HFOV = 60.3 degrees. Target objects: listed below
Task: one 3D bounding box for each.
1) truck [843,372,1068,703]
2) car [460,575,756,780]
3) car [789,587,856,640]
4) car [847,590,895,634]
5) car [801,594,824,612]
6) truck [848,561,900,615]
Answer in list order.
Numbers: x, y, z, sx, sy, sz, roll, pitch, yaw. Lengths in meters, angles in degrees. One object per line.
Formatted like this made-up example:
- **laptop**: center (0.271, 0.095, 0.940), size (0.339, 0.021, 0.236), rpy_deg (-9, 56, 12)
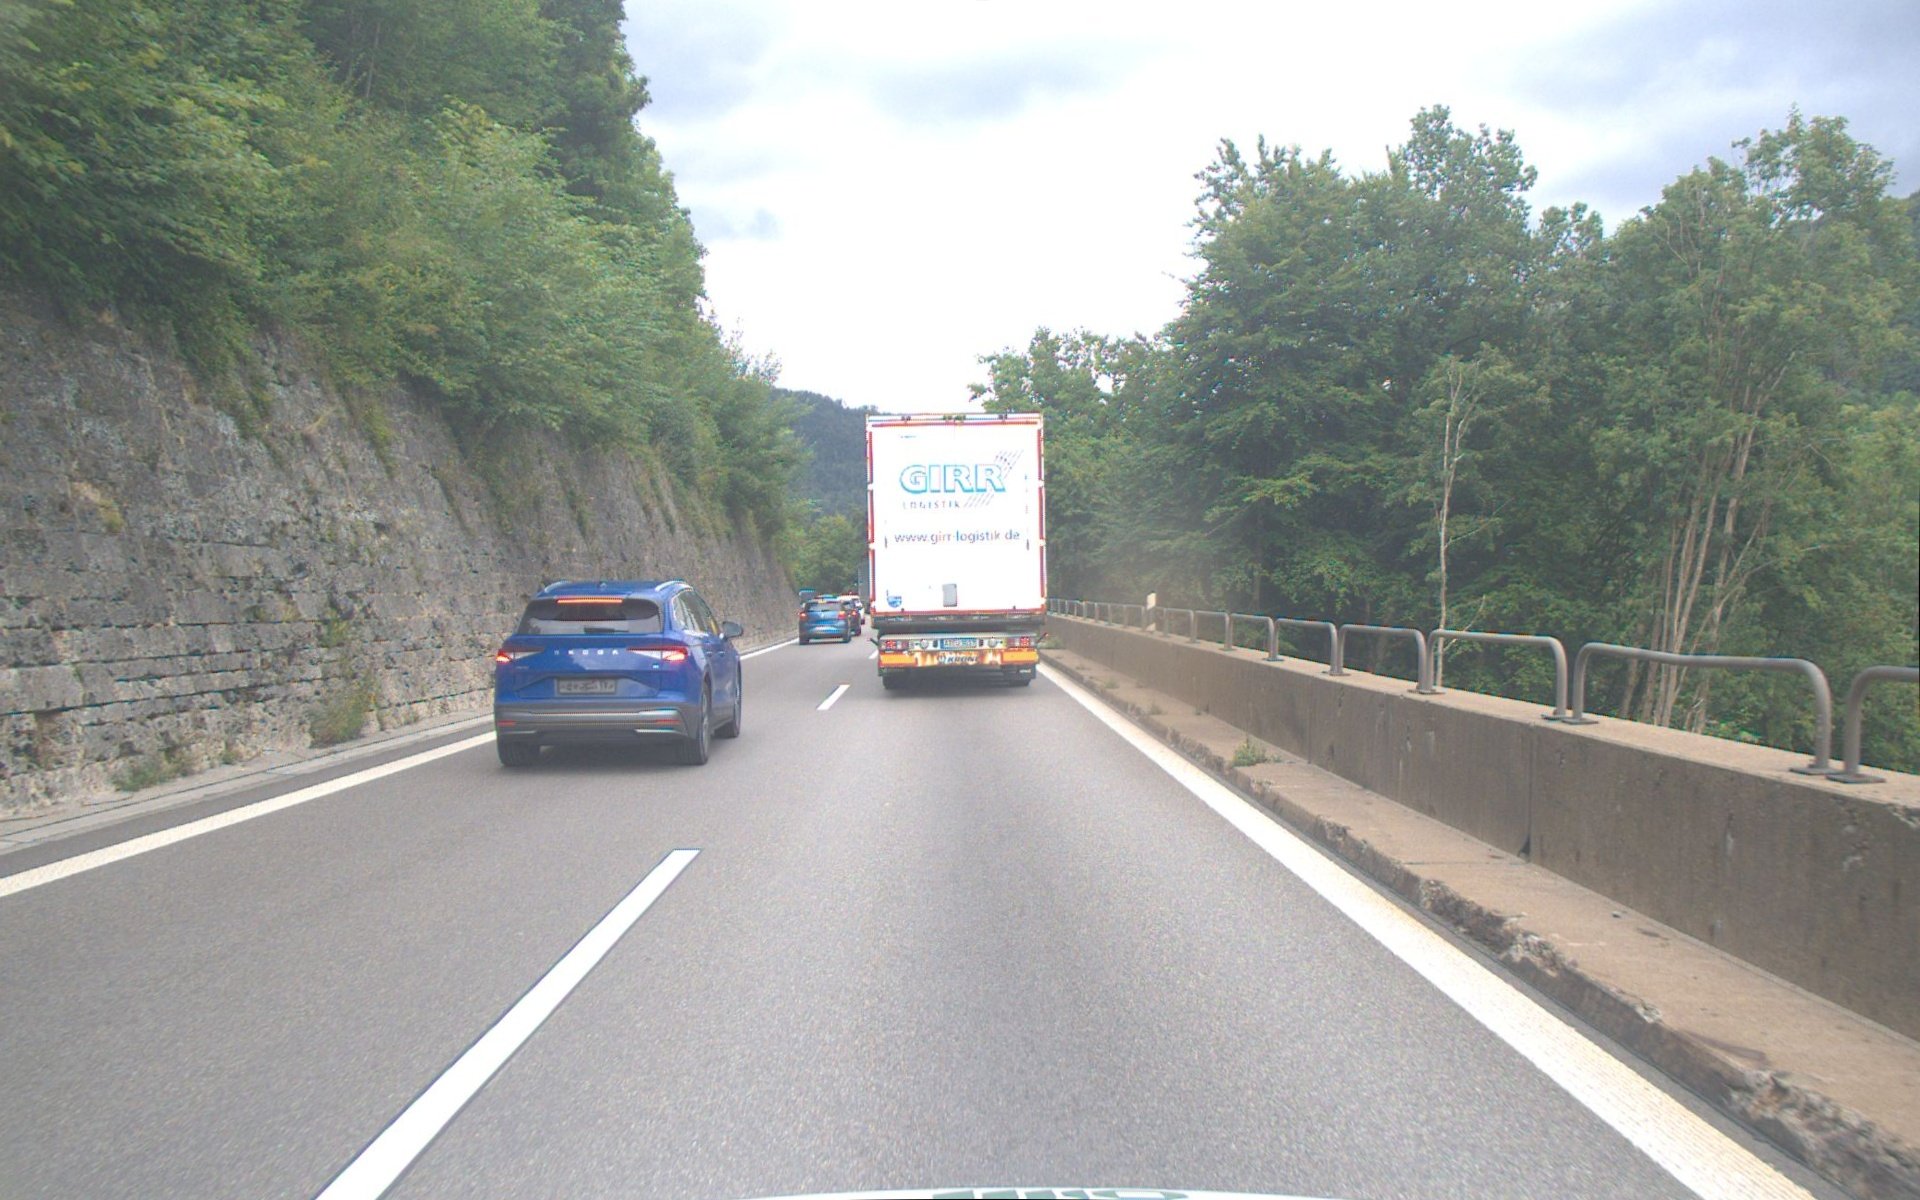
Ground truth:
- **truck**: center (-0.242, -0.952, 30.713), size (3.022, 4.542, 15.151), rpy_deg (-2, 1, -1)
- **car**: center (-3.168, 0.624, 15.968), size (1.953, 1.660, 5.006), rpy_deg (0, 0, -2)
- **car**: center (-4.549, 0.426, 55.198), size (1.953, 1.624, 4.352), rpy_deg (2, 0, -2)
- **car**: center (-3.461, 0.459, 64.866), size (1.710, 1.614, 3.999), rpy_deg (2, 0, -2)
- **car**: center (-14.007, 0.301, 156.663), size (1.714, 1.614, 3.990), rpy_deg (4, -1, -10)
- **truck**: center (-6.840, -0.934, 130.376), size (2.586, 3.924, 12.332), rpy_deg (3, 0, -9)
